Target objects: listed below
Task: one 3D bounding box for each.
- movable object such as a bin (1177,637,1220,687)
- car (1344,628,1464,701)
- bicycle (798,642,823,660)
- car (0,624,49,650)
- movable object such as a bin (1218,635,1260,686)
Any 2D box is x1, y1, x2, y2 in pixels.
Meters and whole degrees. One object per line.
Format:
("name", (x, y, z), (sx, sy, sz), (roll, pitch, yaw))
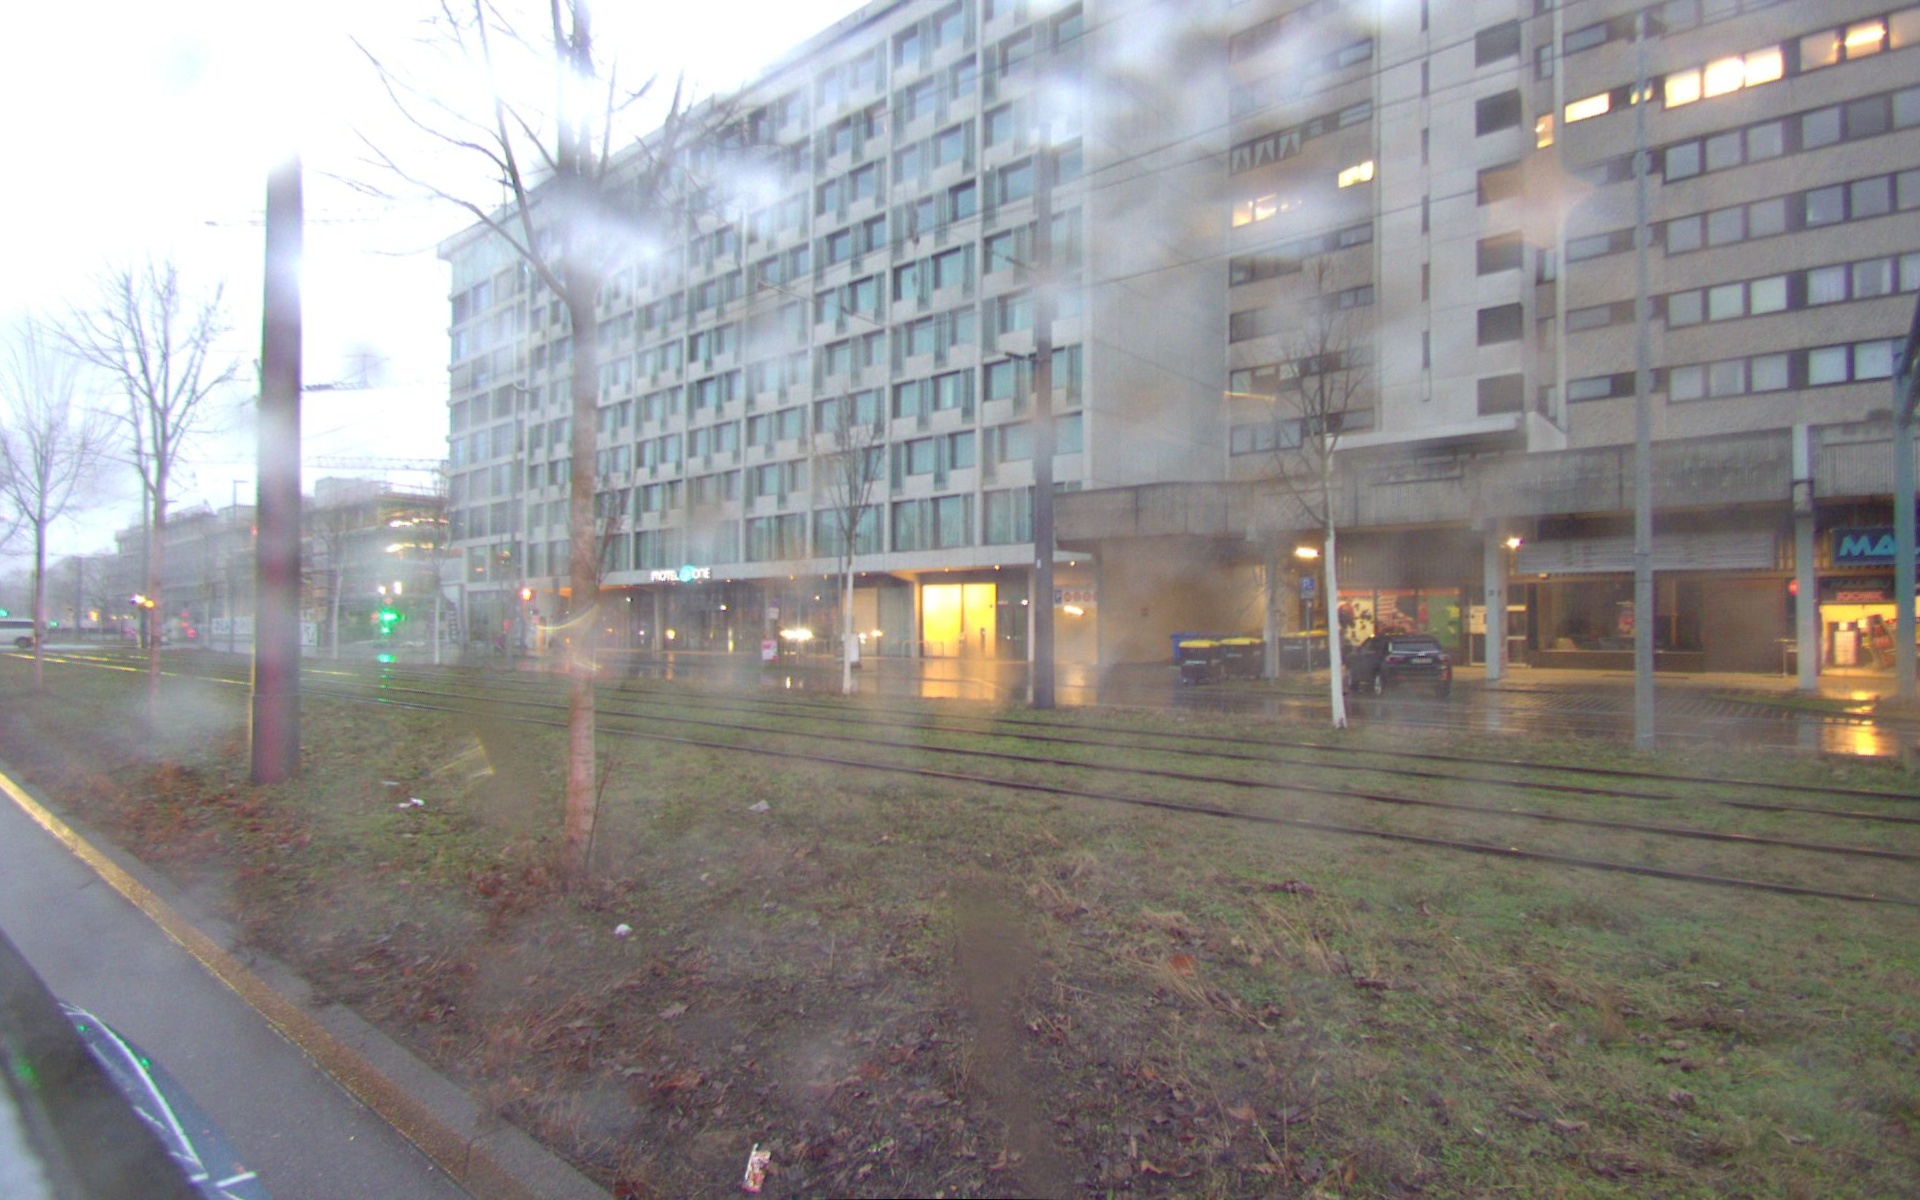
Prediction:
("movable object such as a bin", (7.341, 1.888, 31.098), (1.027, 1.437, 1.063), (-1, 0, 30))
("car", (11.975, 1.685, 27.589), (1.962, 1.706, 4.131), (-1, 0, 9))
("bicycle", (-7.831, 2.689, 53.187), (0.465, 0.860, 1.332), (-1, 0, 39))
("car", (-63.666, 2.419, 66.742), (4.957, 1.682, 2.094), (1, -2, -32))
("movable object such as a bin", (8.695, 1.860, 31.551), (1.008, 1.512, 1.042), (-1, 0, 30))
